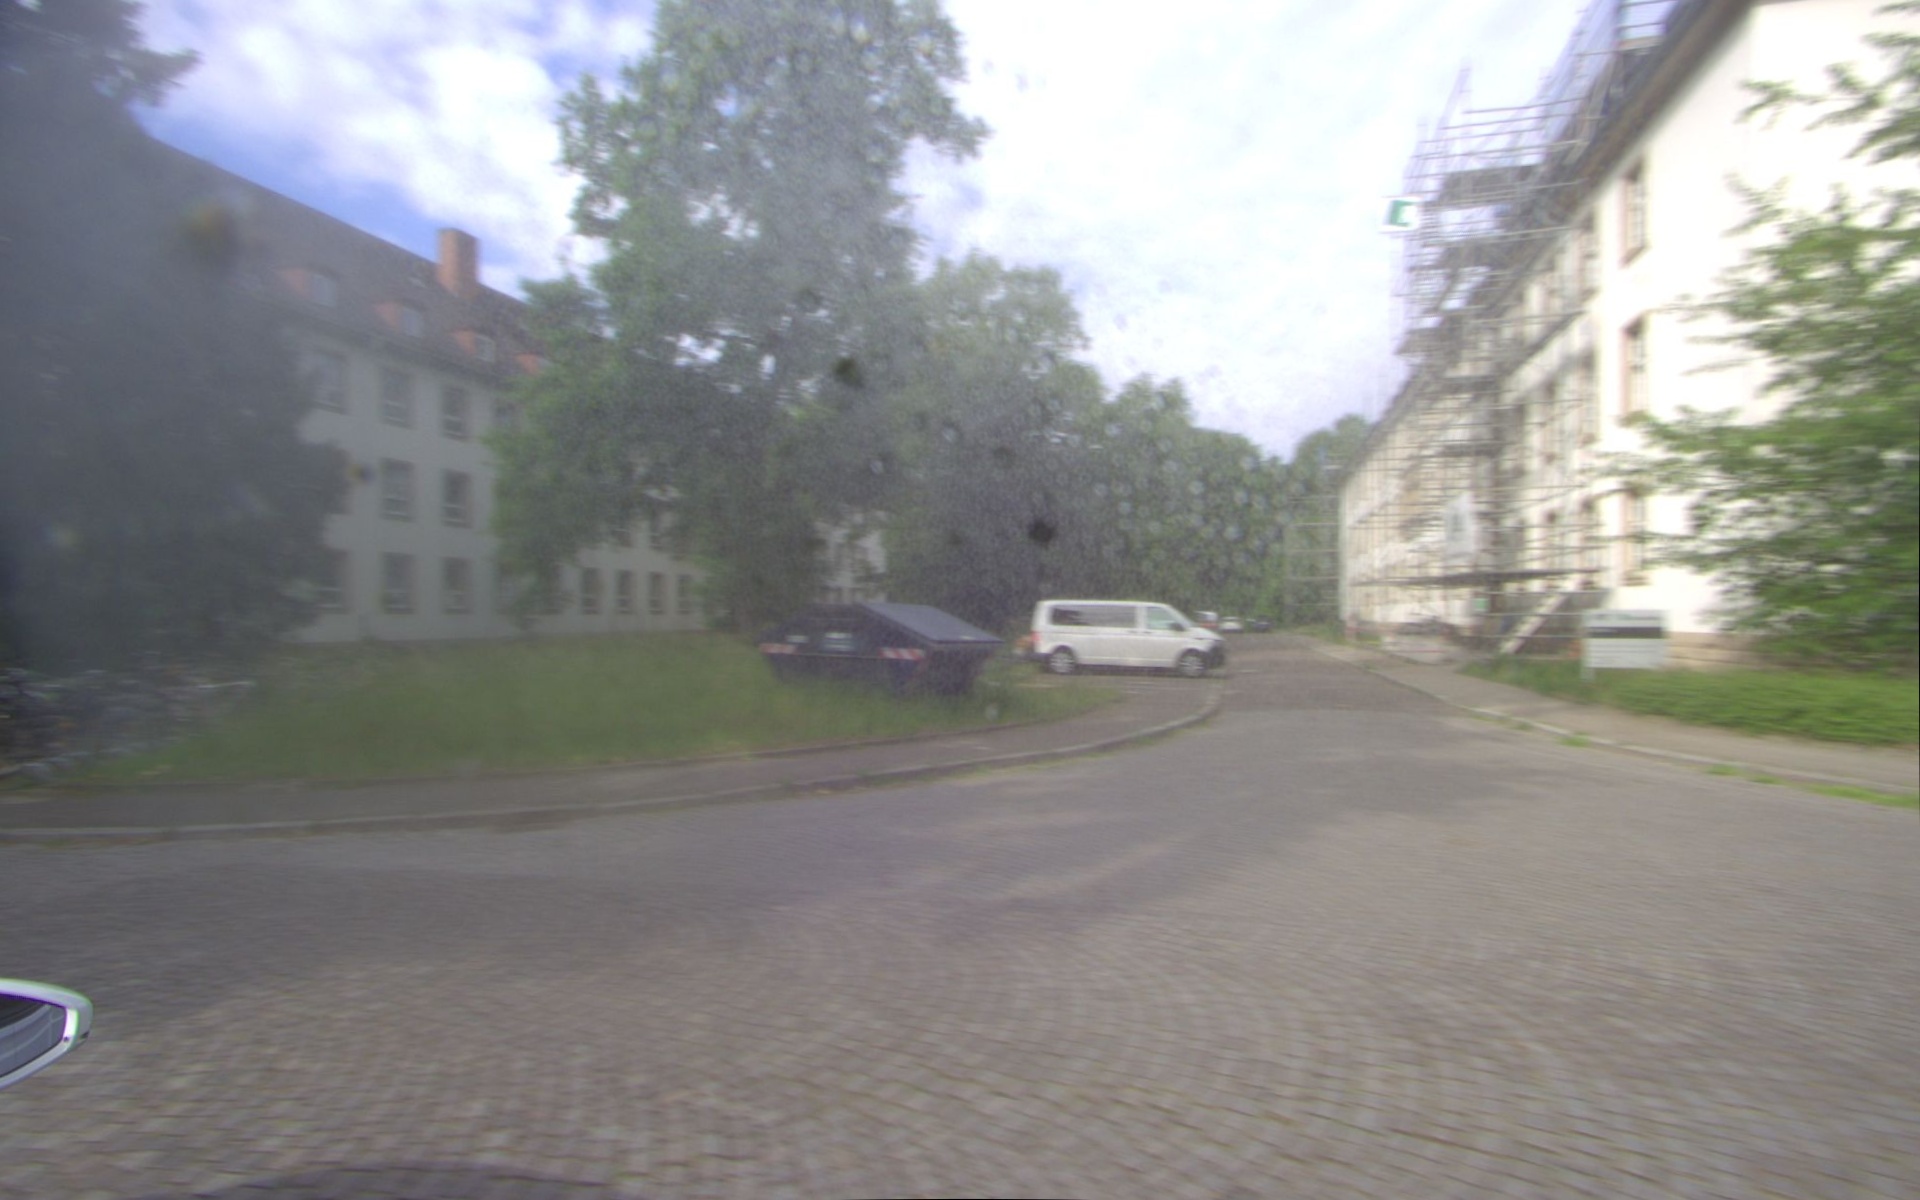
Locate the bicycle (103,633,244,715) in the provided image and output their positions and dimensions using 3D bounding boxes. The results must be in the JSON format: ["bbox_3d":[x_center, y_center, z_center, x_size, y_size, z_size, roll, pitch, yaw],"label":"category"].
[{"bbox_3d":[-12.240,1.144,15.622,1.613,1.202,0.573,0,2,-10],"label":"bicycle"}]

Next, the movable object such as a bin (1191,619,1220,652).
[{"bbox_3d":[11.171,1.602,45.515,1.166,1.425,0.974,3,0,17],"label":"movable object such as a bin"}]

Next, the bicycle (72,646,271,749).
[{"bbox_3d":[-9.490,1.161,12.108,1.764,1.118,0.702,-1,2,-3],"label":"bicycle"}]

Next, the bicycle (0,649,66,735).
[{"bbox_3d":[-12.992,1.221,13.283,1.600,1.088,0.538,0,2,-14],"label":"bicycle"}]

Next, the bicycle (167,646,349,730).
[{"bbox_3d":[-9.541,1.179,13.659,1.922,1.018,0.686,-1,2,-3],"label":"bicycle"}]

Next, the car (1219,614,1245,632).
[{"bbox_3d":[24.371,2.074,89.898,1.970,1.568,3.956,3,-1,13],"label":"car"}]

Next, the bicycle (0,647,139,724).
[{"bbox_3d":[-13.126,1.248,14.742,1.488,1.050,0.544,0,2,-14],"label":"bicycle"}]

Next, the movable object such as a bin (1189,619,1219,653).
[{"bbox_3d":[10.819,1.606,44.373,1.166,1.425,0.974,3,0,17],"label":"movable object such as a bin"}]

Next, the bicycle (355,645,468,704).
[{"bbox_3d":[-9.318,1.260,17.050,1.590,0.923,0.526,-1,2,-3],"label":"bicycle"}]

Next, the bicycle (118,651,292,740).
[{"bbox_3d":[-9.644,1.206,12.830,1.663,1.015,0.632,-1,2,-3],"label":"bicycle"}]

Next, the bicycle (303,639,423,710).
[{"bbox_3d":[-9.820,1.215,16.499,1.590,1.073,0.526,-1,2,-3],"label":"bicycle"}]

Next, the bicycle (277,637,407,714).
[{"bbox_3d":[-9.827,1.196,15.957,1.669,1.132,0.541,-1,2,-3],"label":"bicycle"}]

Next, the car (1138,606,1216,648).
[{"bbox_3d":[11.568,1.441,53.546,3.924,2.040,1.921,3,0,12],"label":"car"}]

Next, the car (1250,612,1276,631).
[{"bbox_3d":[26.970,1.928,89.053,2.033,1.614,3.995,3,-1,18],"label":"car"}]

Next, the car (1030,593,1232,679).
[{"bbox_3d":[4.640,0.923,26.957,5.121,2.087,2.186,1,-1,15],"label":"car"}]

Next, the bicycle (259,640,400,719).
[{"bbox_3d":[-9.682,1.217,15.417,1.742,1.120,0.541,-1,2,-3],"label":"bicycle"}]

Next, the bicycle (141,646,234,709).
[{"bbox_3d":[-13.309,1.325,17.271,1.238,1.042,0.434,-1,-2,-3],"label":"bicycle"}]

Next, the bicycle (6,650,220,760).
[{"bbox_3d":[-9.574,1.171,11.374,1.739,1.118,0.702,-1,2,-3],"label":"bicycle"}]
